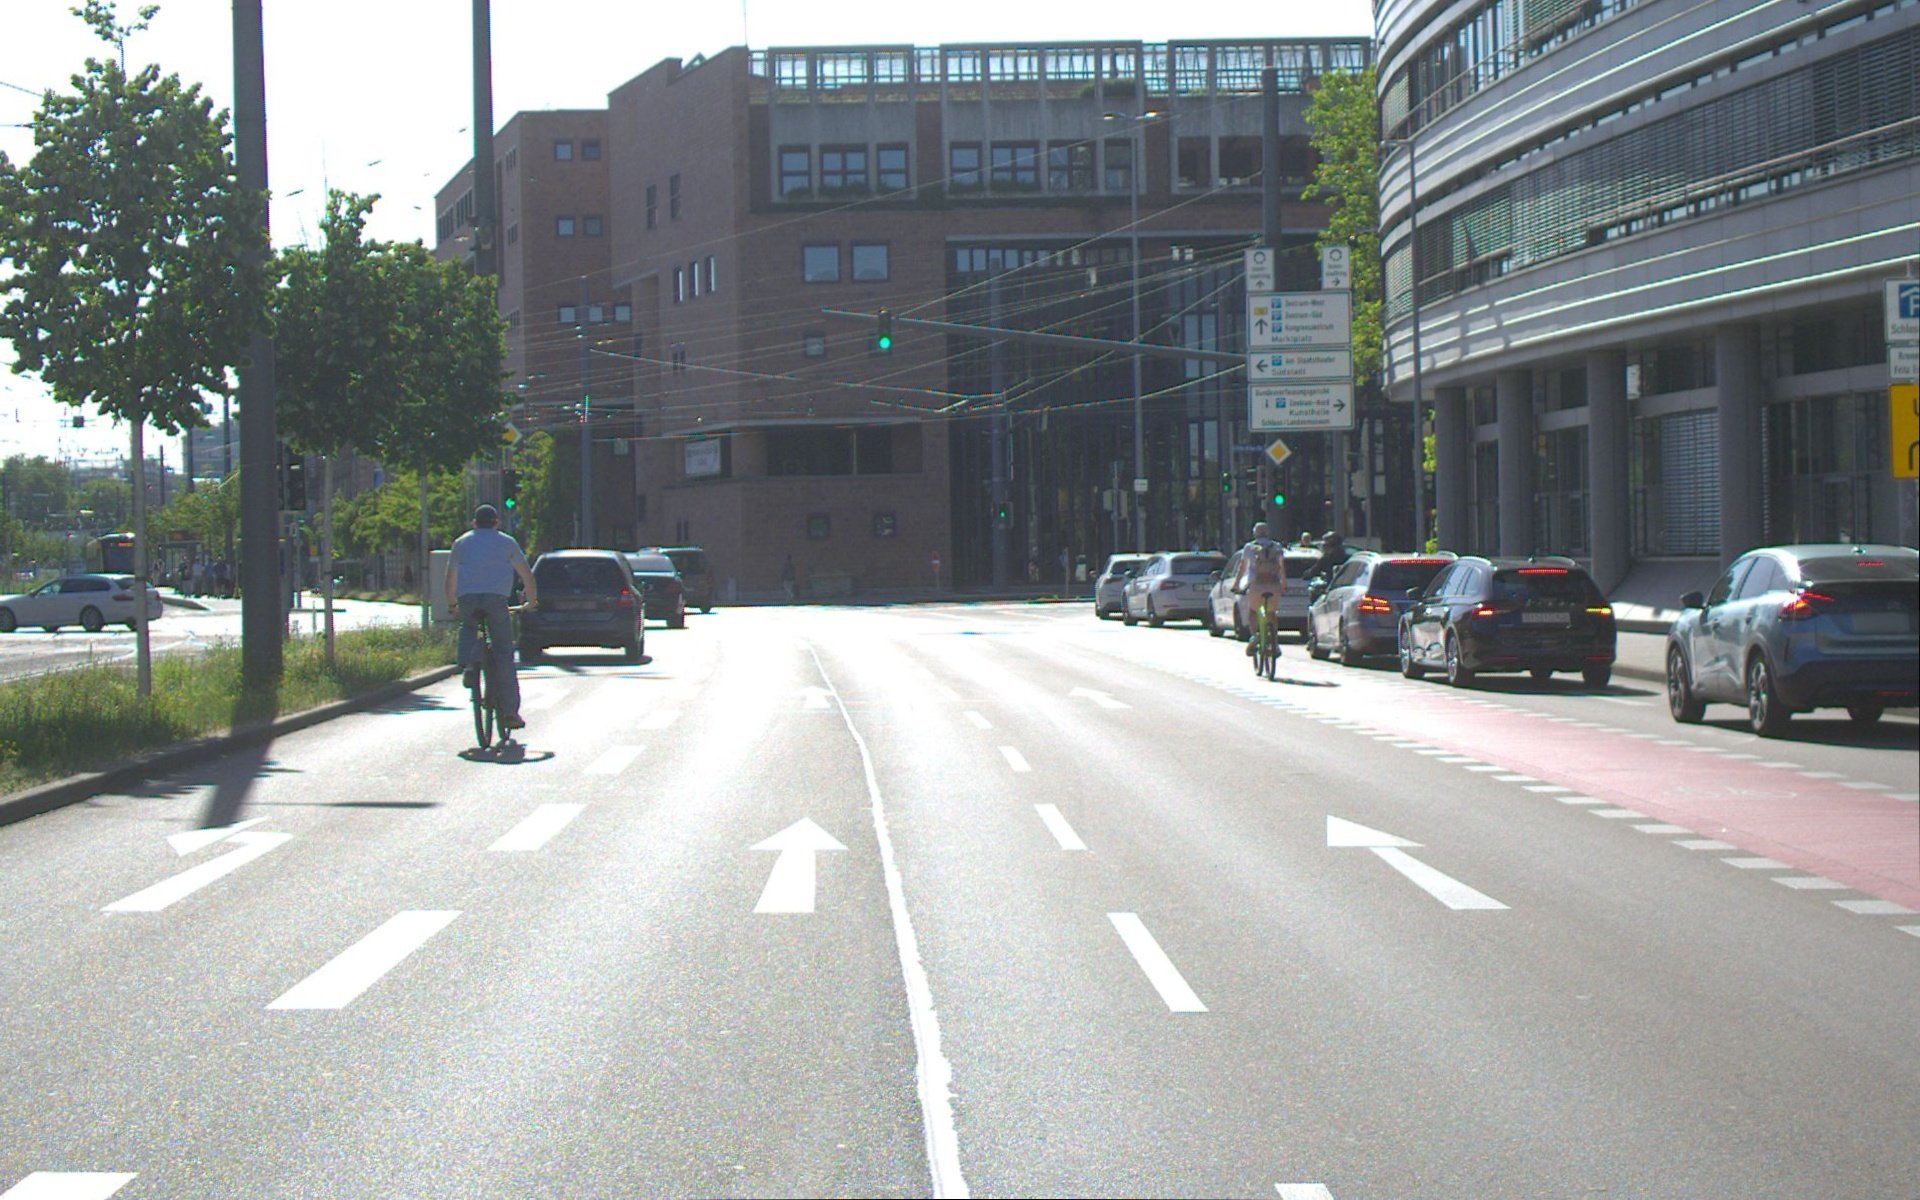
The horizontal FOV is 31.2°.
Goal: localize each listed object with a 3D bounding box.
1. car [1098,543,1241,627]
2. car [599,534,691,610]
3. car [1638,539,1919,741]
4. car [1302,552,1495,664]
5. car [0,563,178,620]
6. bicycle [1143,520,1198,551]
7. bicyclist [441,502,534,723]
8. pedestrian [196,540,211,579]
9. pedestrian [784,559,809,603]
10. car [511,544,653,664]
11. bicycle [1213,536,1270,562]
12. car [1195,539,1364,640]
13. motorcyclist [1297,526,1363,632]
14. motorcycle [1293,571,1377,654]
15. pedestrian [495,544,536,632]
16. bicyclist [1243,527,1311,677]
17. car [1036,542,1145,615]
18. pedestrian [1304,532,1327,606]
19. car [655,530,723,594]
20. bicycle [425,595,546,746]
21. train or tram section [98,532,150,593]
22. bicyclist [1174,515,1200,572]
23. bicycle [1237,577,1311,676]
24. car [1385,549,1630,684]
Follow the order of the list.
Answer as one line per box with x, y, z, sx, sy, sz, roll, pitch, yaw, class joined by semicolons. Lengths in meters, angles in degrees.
4.024;-0.306;66.580;1.905;1.536;4.139;1;1;-9;car
-6.375;-0.580;69.178;1.726;1.444;4.522;-1;1;-6;car
7.004;0.267;28.382;1.721;1.519;4.399;-1;1;-3;car
5.783;0.068;45.860;1.721;1.391;4.788;-1;1;-3;car
-22.709;-0.224;89.180;4.404;1.376;2.064;-1;1;28;car
7.012;-2.155;114.643;1.668;0.991;0.673;-2;1;-23;bicycle
-3.640;0.087;26.531;0.617;1.664;1.020;0;1;-3;bicyclist
-32.800;-1.753;149.098;0.538;1.649;0.707;-2;0;-18;pedestrian
-5.777;-0.674;121.512;0.617;1.558;0.987;-2;0;-18;pedestrian
-5.226;0.026;47.878;1.726;1.558;3.678;-1;1;-3;car
8.935;-1.618;109.235;1.668;0.803;0.673;-2;1;-14;bicycle
5.271;-0.204;57.241;1.905;1.578;4.139;1;1;-8;car
5.486;-0.315;51.029;0.829;1.556;0.942;0;0;-4;motorcyclist
5.537;0.168;50.873;0.829;1.197;2.391;0;0;-4;motorcycle
-8.940;-0.248;69.168;0.669;1.747;0.769;-1;1;-16;pedestrian
3.786;0.009;41.134;0.649;1.746;1.045;-1;2;-2;bicyclist
2.916;-0.505;77.785;1.906;1.578;4.139;1;1;-6;car
7.987;-0.698;77.297;0.427;1.640;0.562;-2;2;8;pedestrian
-7.563;-1.078;95.696;1.781;1.697;4.139;1;1;-6;car
-3.649;0.515;26.634;0.686;1.066;2.697;0;1;-3;bicycle
-42.868;-1.946;176.505;2.326;2.993;13.164;-1;1;-13;train or tram section
7.580;-1.897;114.871;0.605;1.877;0.651;-2;0;-22;bicyclist
3.768;0.307;41.381;0.649;1.106;1.758;-1;2;-2;bicycle
6.179;0.144;39.284;1.721;1.417;4.638;-1;1;-4;car
